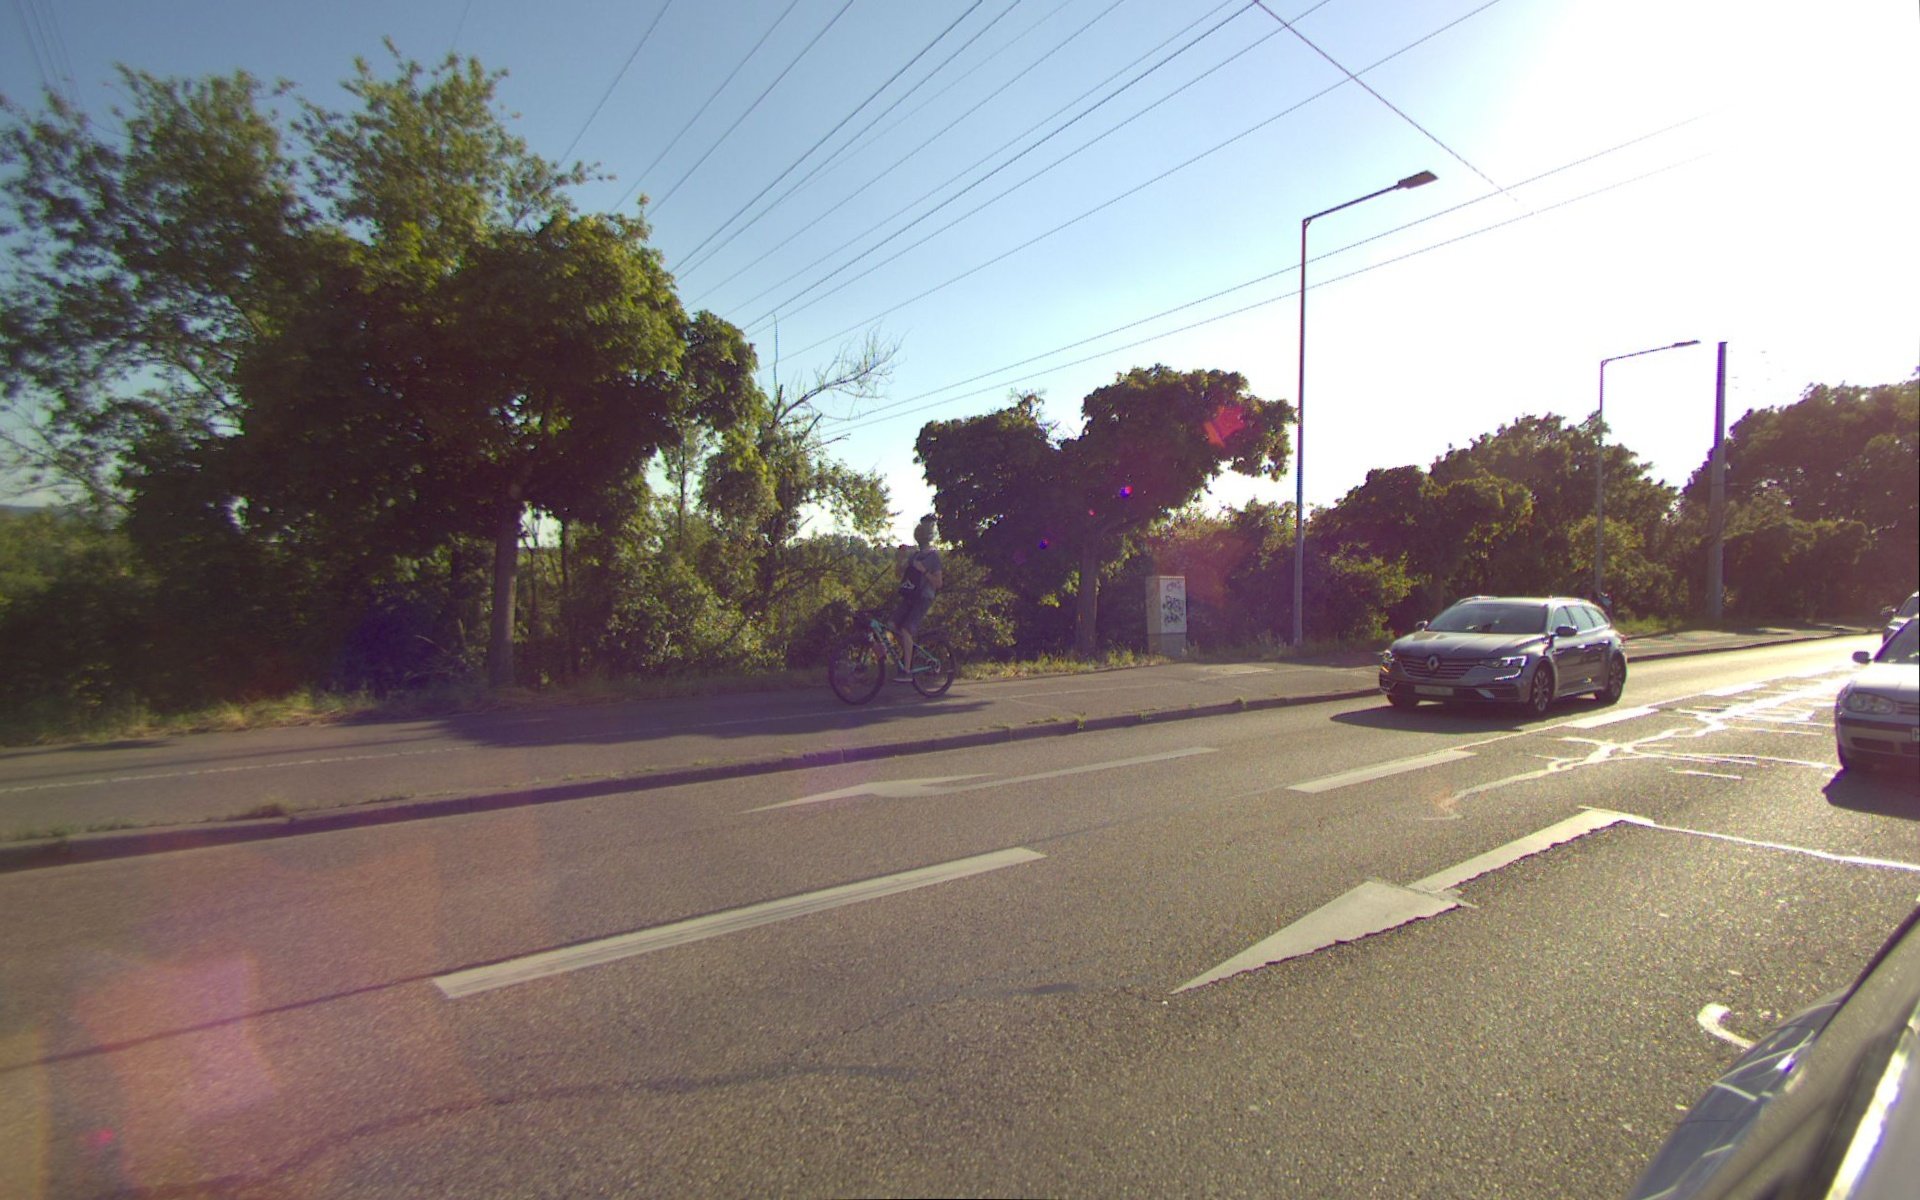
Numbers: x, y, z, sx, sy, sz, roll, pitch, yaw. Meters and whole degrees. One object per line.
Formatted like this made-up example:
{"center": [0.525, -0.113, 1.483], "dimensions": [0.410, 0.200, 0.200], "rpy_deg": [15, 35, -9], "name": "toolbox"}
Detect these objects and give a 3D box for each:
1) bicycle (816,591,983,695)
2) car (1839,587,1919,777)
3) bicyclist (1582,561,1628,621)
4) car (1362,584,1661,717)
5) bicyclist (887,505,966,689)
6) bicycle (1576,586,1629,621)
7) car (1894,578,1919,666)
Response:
{"center": [-0.653, 0.449, 11.473], "dimensions": [1.936, 1.074, 0.528], "rpy_deg": [-1, 0, -39], "name": "bicycle"}
{"center": [9.312, 0.636, 8.784], "dimensions": [3.926, 1.463, 1.696], "rpy_deg": [-1, 1, -36], "name": "car"}
{"center": [16.759, -0.235, 26.302], "dimensions": [1.042, 1.488, 0.628], "rpy_deg": [-1, 5, -40], "name": "bicyclist"}
{"center": [7.504, 0.537, 13.589], "dimensions": [4.575, 1.461, 1.881], "rpy_deg": [-1, 2, -38], "name": "car"}
{"center": [-0.389, -0.039, 11.685], "dimensions": [0.716, 2.042, 0.528], "rpy_deg": [-1, 0, -39], "name": "bicyclist"}
{"center": [16.708, 0.080, 26.307], "dimensions": [1.606, 0.844, 0.628], "rpy_deg": [-1, 5, -40], "name": "bicycle"}
{"center": [19.764, 0.394, 19.585], "dimensions": [4.338, 1.620, 1.881], "rpy_deg": [-1, 2, -39], "name": "car"}
